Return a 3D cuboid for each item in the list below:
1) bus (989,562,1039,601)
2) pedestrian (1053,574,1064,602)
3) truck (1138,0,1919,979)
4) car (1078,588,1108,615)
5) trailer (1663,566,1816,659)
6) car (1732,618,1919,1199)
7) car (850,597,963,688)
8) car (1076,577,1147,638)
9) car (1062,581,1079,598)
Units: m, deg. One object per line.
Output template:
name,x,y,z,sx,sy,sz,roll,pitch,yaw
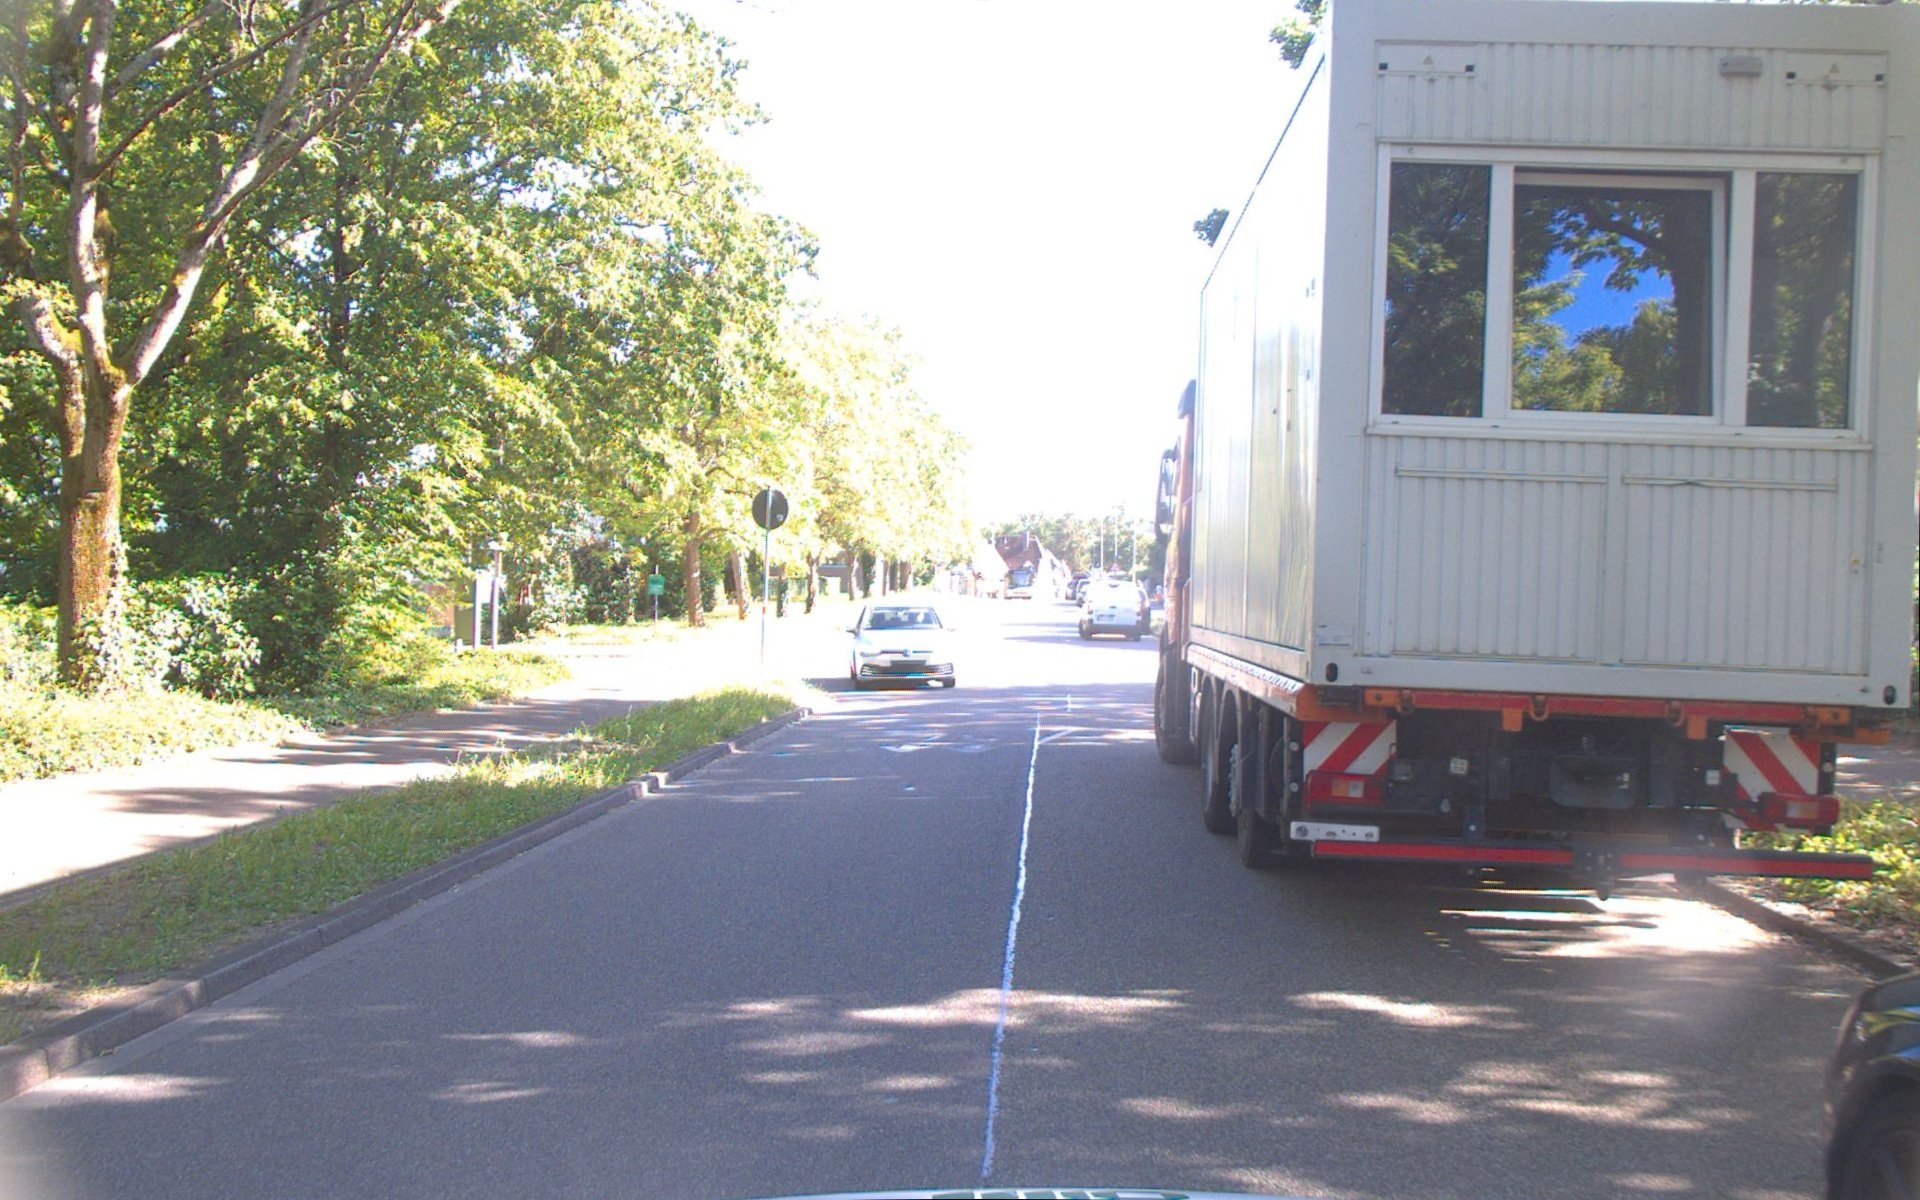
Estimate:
bus,5.099,-1.706,152.742,3.979,3.407,9.807,-1,1,5
pedestrian,7.833,-0.934,130.983,0.736,2.150,0.799,2,0,6
truck,3.019,-0.575,11.939,2.715,4.065,10.352,2,1,3
car,8.429,0.092,105.295,1.744,1.681,4.001,0,0,2
trailer,18.429,0.279,39.204,2.882,2.153,1.611,0,0,1
car,2.579,0.803,1.808,1.606,1.445,4.000,1,1,0
car,-1.012,0.696,29.315,1.770,1.445,3.955,-1,0,-5
car,4.819,0.211,53.175,1.906,1.875,4.000,1,0,0
car,11.718,-1.101,175.710,1.744,1.840,4.001,0,0,2
